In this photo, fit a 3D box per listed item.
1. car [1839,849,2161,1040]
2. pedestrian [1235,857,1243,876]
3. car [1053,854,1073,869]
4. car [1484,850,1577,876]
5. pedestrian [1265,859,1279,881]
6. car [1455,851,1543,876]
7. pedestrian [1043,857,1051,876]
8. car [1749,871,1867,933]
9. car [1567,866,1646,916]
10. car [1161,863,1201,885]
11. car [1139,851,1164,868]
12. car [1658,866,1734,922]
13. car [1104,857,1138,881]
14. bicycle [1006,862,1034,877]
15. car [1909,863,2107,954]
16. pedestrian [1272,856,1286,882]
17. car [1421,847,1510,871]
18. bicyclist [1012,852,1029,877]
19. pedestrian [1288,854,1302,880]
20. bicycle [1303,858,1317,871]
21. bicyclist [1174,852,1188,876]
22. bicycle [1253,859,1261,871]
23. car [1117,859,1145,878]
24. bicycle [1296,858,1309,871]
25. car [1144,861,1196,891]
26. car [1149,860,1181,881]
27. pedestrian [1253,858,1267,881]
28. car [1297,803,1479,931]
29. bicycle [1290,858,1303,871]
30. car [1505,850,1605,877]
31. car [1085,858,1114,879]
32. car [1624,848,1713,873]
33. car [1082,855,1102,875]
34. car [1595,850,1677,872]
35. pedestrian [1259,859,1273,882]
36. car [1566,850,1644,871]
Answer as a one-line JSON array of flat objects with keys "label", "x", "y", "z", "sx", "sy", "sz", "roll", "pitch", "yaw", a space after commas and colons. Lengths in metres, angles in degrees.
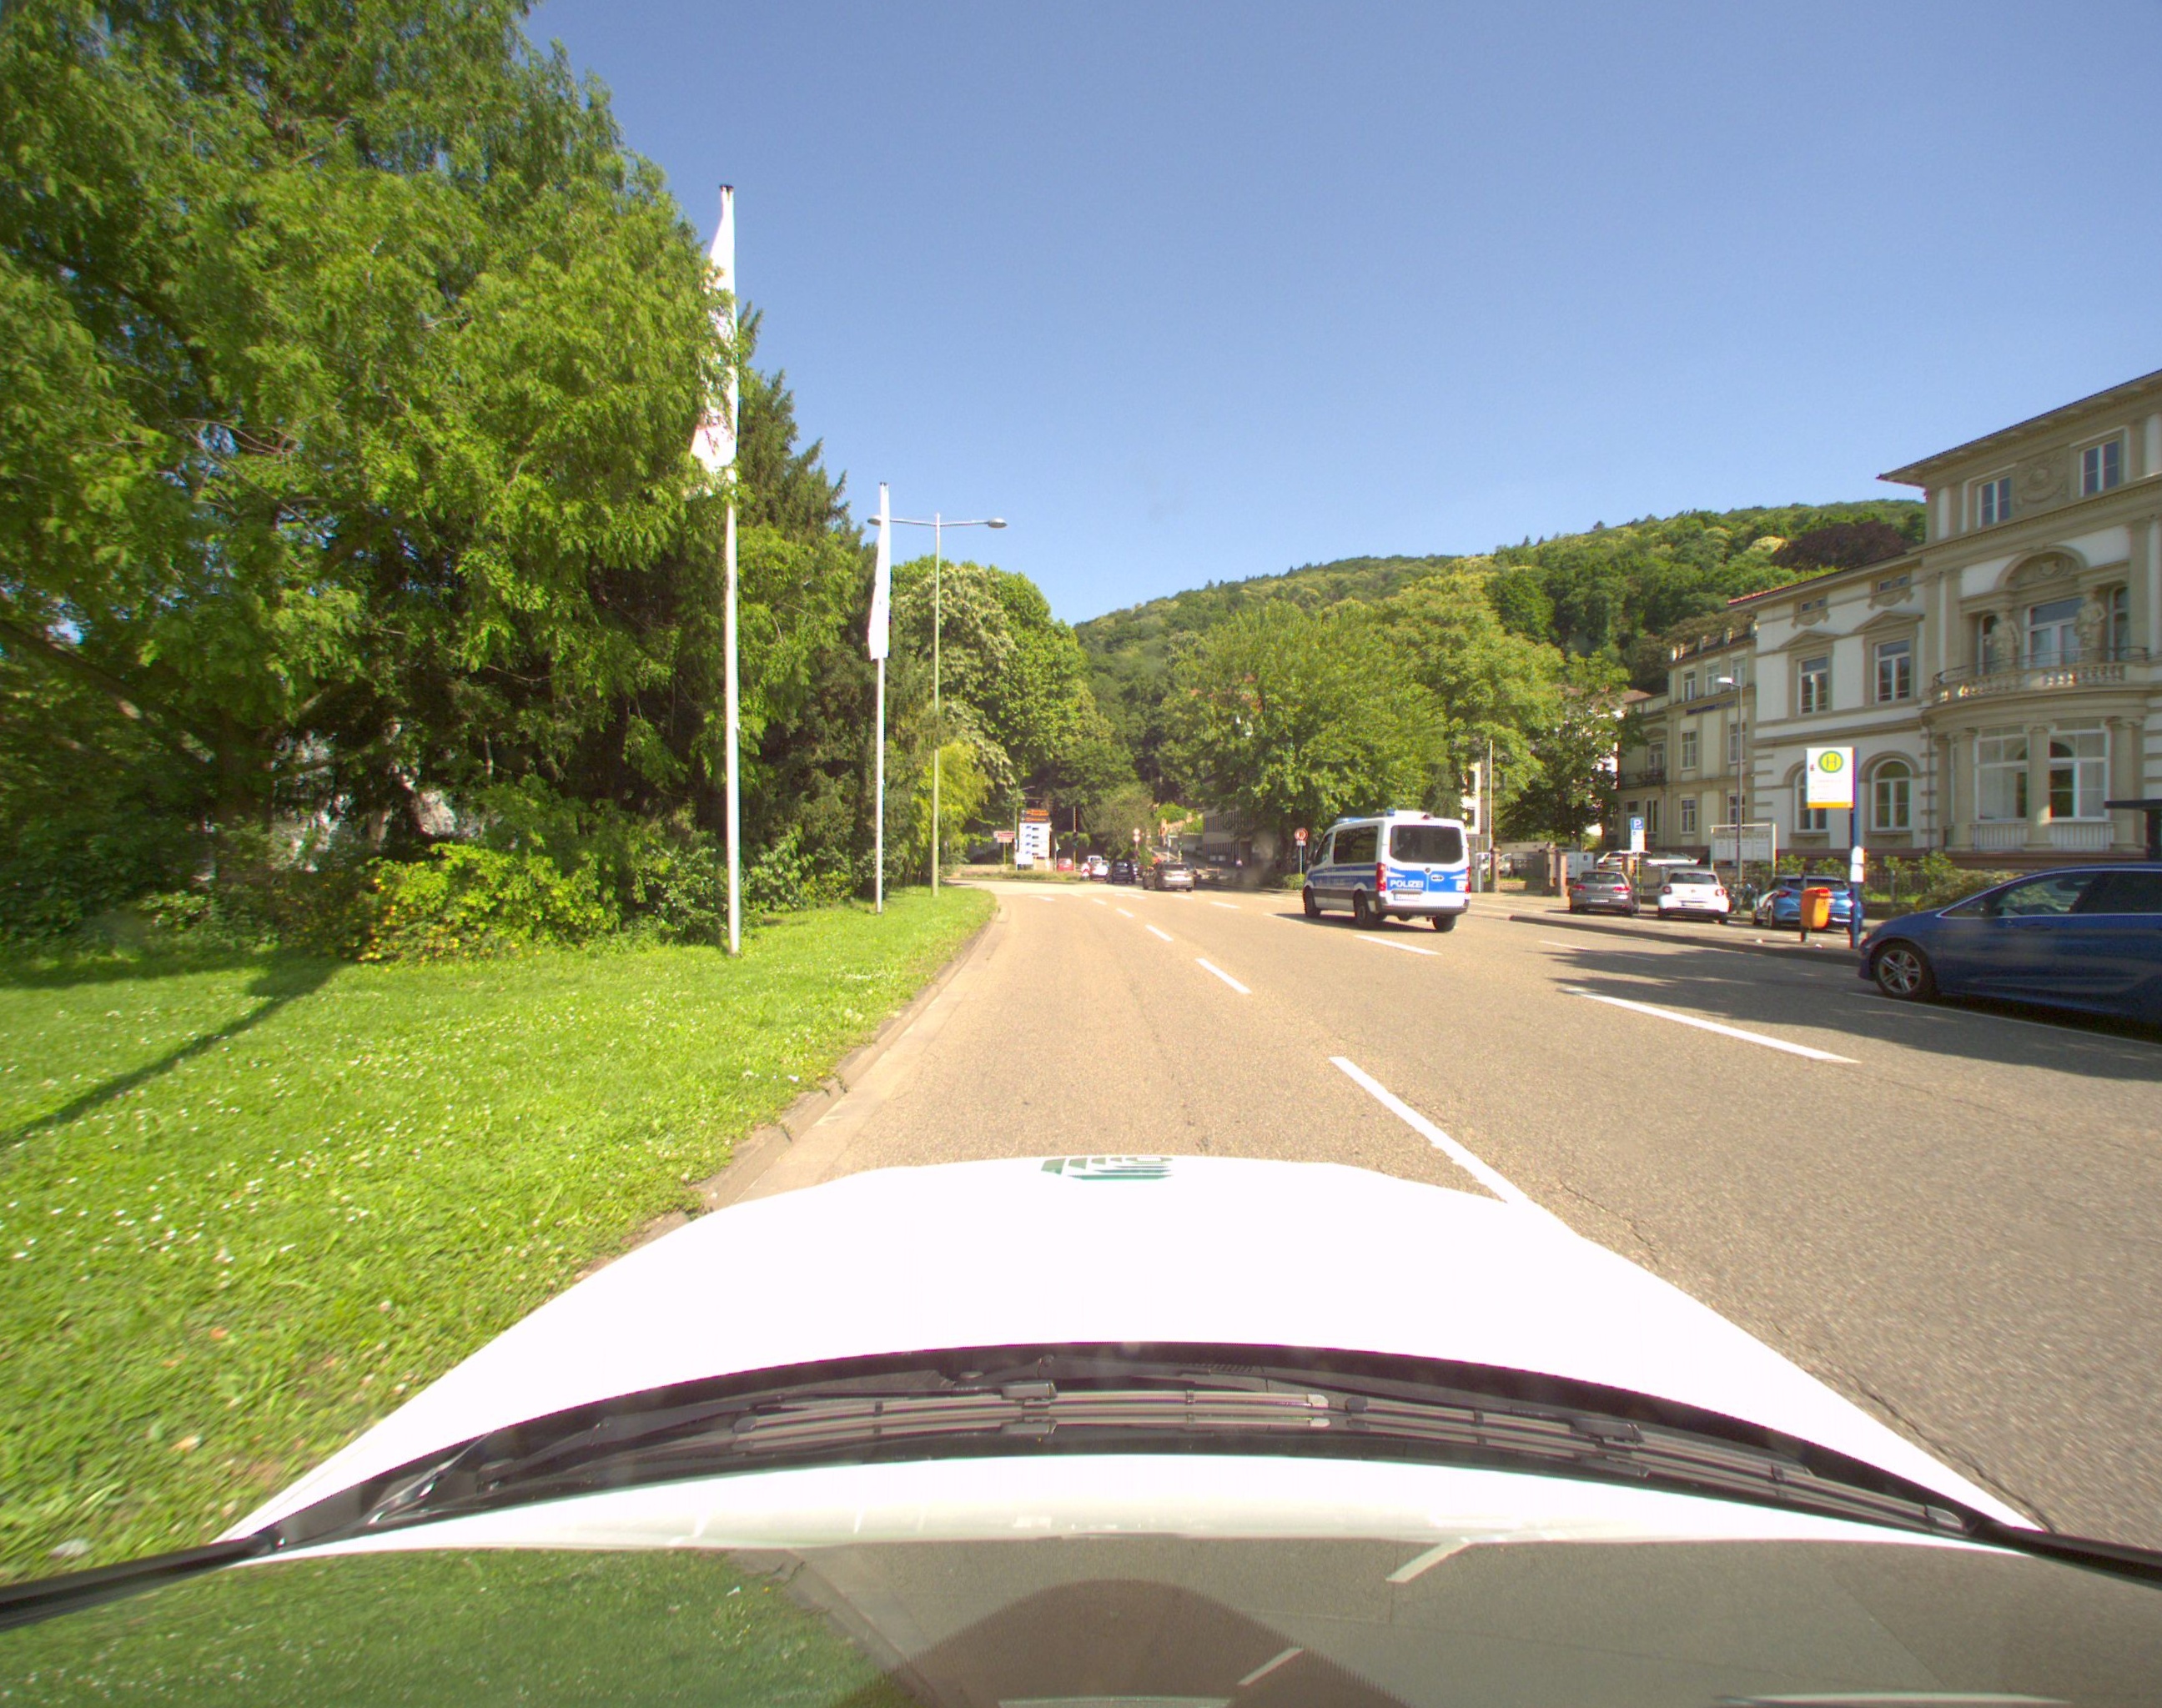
[{"label": "car", "x": 9.722, "y": 0.758, "z": 7.531, "sx": 1.711, "sy": 1.541, "sz": 4.278, "roll": 2, "pitch": 0, "yaw": 5}, {"label": "pedestrian", "x": 12.386, "y": 0.994, "z": 63.903, "sx": 0.487, "sy": 1.458, "sz": 0.734, "roll": 0, "pitch": -1, "yaw": -1}, {"label": "car", "x": -1.787, "y": 0.727, "z": 80.262, "sx": 1.753, "sy": 1.461, "sz": 3.487, "roll": 1, "pitch": 0, "yaw": -5}, {"label": "car", "x": 23.828, "y": 0.490, "z": 43.230, "sx": 4.037, "sy": 1.336, "sz": 1.856, "roll": 0, "pitch": 0, "yaw": -8}, {"label": "pedestrian", "x": 14.104, "y": 1.174, "z": 60.123, "sx": 0.769, "sy": 1.663, "sz": 0.828, "roll": 1, "pitch": 0, "yaw": -4}, {"label": "car", "x": 23.274, "y": 0.514, "z": 45.434, "sx": 4.082, "sy": 1.336, "sz": 1.817, "roll": 0, "pitch": 0, "yaw": -8}, {"label": "pedestrian", "x": -2.887, "y": 1.029, "z": 69.421, "sx": 0.544, "sy": 1.621, "sz": 0.635, "roll": 0, "pitch": 0, "yaw": 4}, {"label": "car", "x": 19.134, "y": 1.193, "z": 21.597, "sx": 1.692, "sy": 1.442, "sz": 3.835, "roll": 1, "pitch": 0, "yaw": 32}, {"label": "car", "x": 17.458, "y": 1.162, "z": 26.971, "sx": 1.804, "sy": 1.461, "sz": 4.133, "roll": 1, "pitch": 0, "yaw": 39}, {"label": "car", "x": 6.162, "y": 1.209, "z": 50.363, "sx": 1.753, "sy": 1.213, "sz": 3.487, "roll": 1, "pitch": 0, "yaw": -5}, {"label": "car", "x": 7.239, "y": 0.572, "z": 83.862, "sx": 1.928, "sy": 1.697, "sz": 3.992, "roll": 0, "pitch": -1, "yaw": -5}, {"label": "car", "x": 18.517, "y": 1.139, "z": 24.640, "sx": 1.691, "sy": 1.511, "sz": 3.835, "roll": 1, "pitch": 0, "yaw": 35}, {"label": "car", "x": 2.555, "y": 0.972, "z": 52.706, "sx": 1.753, "sy": 1.461, "sz": 3.487, "roll": 1, "pitch": 0, "yaw": -5}, {"label": "bicycle", "x": -4.786, "y": 1.202, "z": 63.627, "sx": 2.059, "sy": 1.112, "sz": 0.760, "roll": 0, "pitch": 0, "yaw": 19}, {"label": "car", "x": 19.952, "y": 1.060, "z": 17.772, "sx": 1.692, "sy": 1.696, "sz": 4.301, "roll": 1, "pitch": 0, "yaw": 32}, {"label": "pedestrian", "x": 14.367, "y": 1.107, "z": 59.037, "sx": 0.770, "sy": 1.854, "sz": 0.828, "roll": 1, "pitch": 0, "yaw": -5}, {"label": "car", "x": 22.592, "y": 0.295, "z": 47.929, "sx": 4.463, "sy": 1.336, "sz": 1.817, "roll": 0, "pitch": 0, "yaw": -8}, {"label": "bicyclist", "x": -4.747, "y": 0.790, "z": 63.634, "sx": 1.116, "sy": 1.932, "sz": 0.752, "roll": 0, "pitch": -1, "yaw": 20}, {"label": "pedestrian", "x": 15.358, "y": 0.952, "z": 58.485, "sx": 0.770, "sy": 1.854, "sz": 0.827, "roll": 1, "pitch": 0, "yaw": -6}, {"label": "bicycle", "x": 19.649, "y": 0.917, "z": 69.894, "sx": 0.536, "sy": 1.085, "sz": 1.833, "roll": 0, "pitch": 0, "yaw": -3}, {"label": "bicyclist", "x": 8.092, "y": 0.813, "z": 65.921, "sx": 1.120, "sy": 1.932, "sz": 0.750, "roll": 0, "pitch": -1, "yaw": 7}, {"label": "bicycle", "x": 16.236, "y": 1.019, "z": 75.094, "sx": 0.404, "sy": 1.012, "sz": 1.339, "roll": 0, "pitch": 0, "yaw": -4}, {"label": "car", "x": 4.008, "y": 1.188, "z": 65.906, "sx": 1.753, "sy": 1.461, "sz": 3.639, "roll": 1, "pitch": 0, "yaw": -5}, {"label": "bicycle", "x": 19.008, "y": 0.919, "z": 69.859, "sx": 0.536, "sy": 1.085, "sz": 1.833, "roll": 0, "pitch": 0, "yaw": -3}, {"label": "car", "x": 4.306, "y": 1.030, "z": 39.837, "sx": 1.754, "sy": 1.334, "sz": 3.794, "roll": 1, "pitch": 0, "yaw": -6}, {"label": "car", "x": 6.366, "y": 1.243, "z": 62.131, "sx": 1.753, "sy": 1.461, "sz": 3.487, "roll": 1, "pitch": 0, "yaw": -5}, {"label": "pedestrian", "x": 13.308, "y": 1.165, "z": 60.479, "sx": 0.769, "sy": 1.663, "sz": 0.828, "roll": 1, "pitch": 0, "yaw": -4}, {"label": "car", "x": 6.748, "y": 0.285, "z": 18.597, "sx": 2.069, "sy": 2.508, "sz": 4.922, "roll": 1, "pitch": -1, "yaw": -3}, {"label": "bicycle", "x": 18.448, "y": 0.921, "z": 69.866, "sx": 0.536, "sy": 1.085, "sz": 1.833, "roll": 0, "pitch": 0, "yaw": -3}, {"label": "car", "x": 23.823, "y": 0.465, "z": 41.012, "sx": 4.037, "sy": 1.336, "sz": 1.986, "roll": 0, "pitch": 0, "yaw": -8}, {"label": "car", "x": 1.316, "y": 1.057, "z": 60.228, "sx": 1.753, "sy": 1.461, "sz": 3.639, "roll": 1, "pitch": 0, "yaw": -5}, {"label": "car", "x": 34.178, "y": 0.377, "z": 47.421, "sx": 4.046, "sy": 1.419, "sz": 1.817, "roll": 0, "pitch": 0, "yaw": -8}, {"label": "car", "x": 1.134, "y": 1.133, "z": 84.492, "sx": 1.753, "sy": 1.938, "sz": 3.487, "roll": 1, "pitch": 0, "yaw": -5}, {"label": "car", "x": 34.154, "y": 0.445, "z": 50.163, "sx": 4.073, "sy": 1.336, "sz": 1.817, "roll": 0, "pitch": 0, "yaw": -8}, {"label": "pedestrian", "x": 13.441, "y": 1.168, "z": 59.271, "sx": 0.769, "sy": 1.663, "sz": 0.828, "roll": 1, "pitch": 0, "yaw": -5}, {"label": "car", "x": 33.747, "y": 0.409, "z": 52.498, "sx": 4.037, "sy": 1.336, "sz": 1.817, "roll": 0, "pitch": 0, "yaw": -8}]
